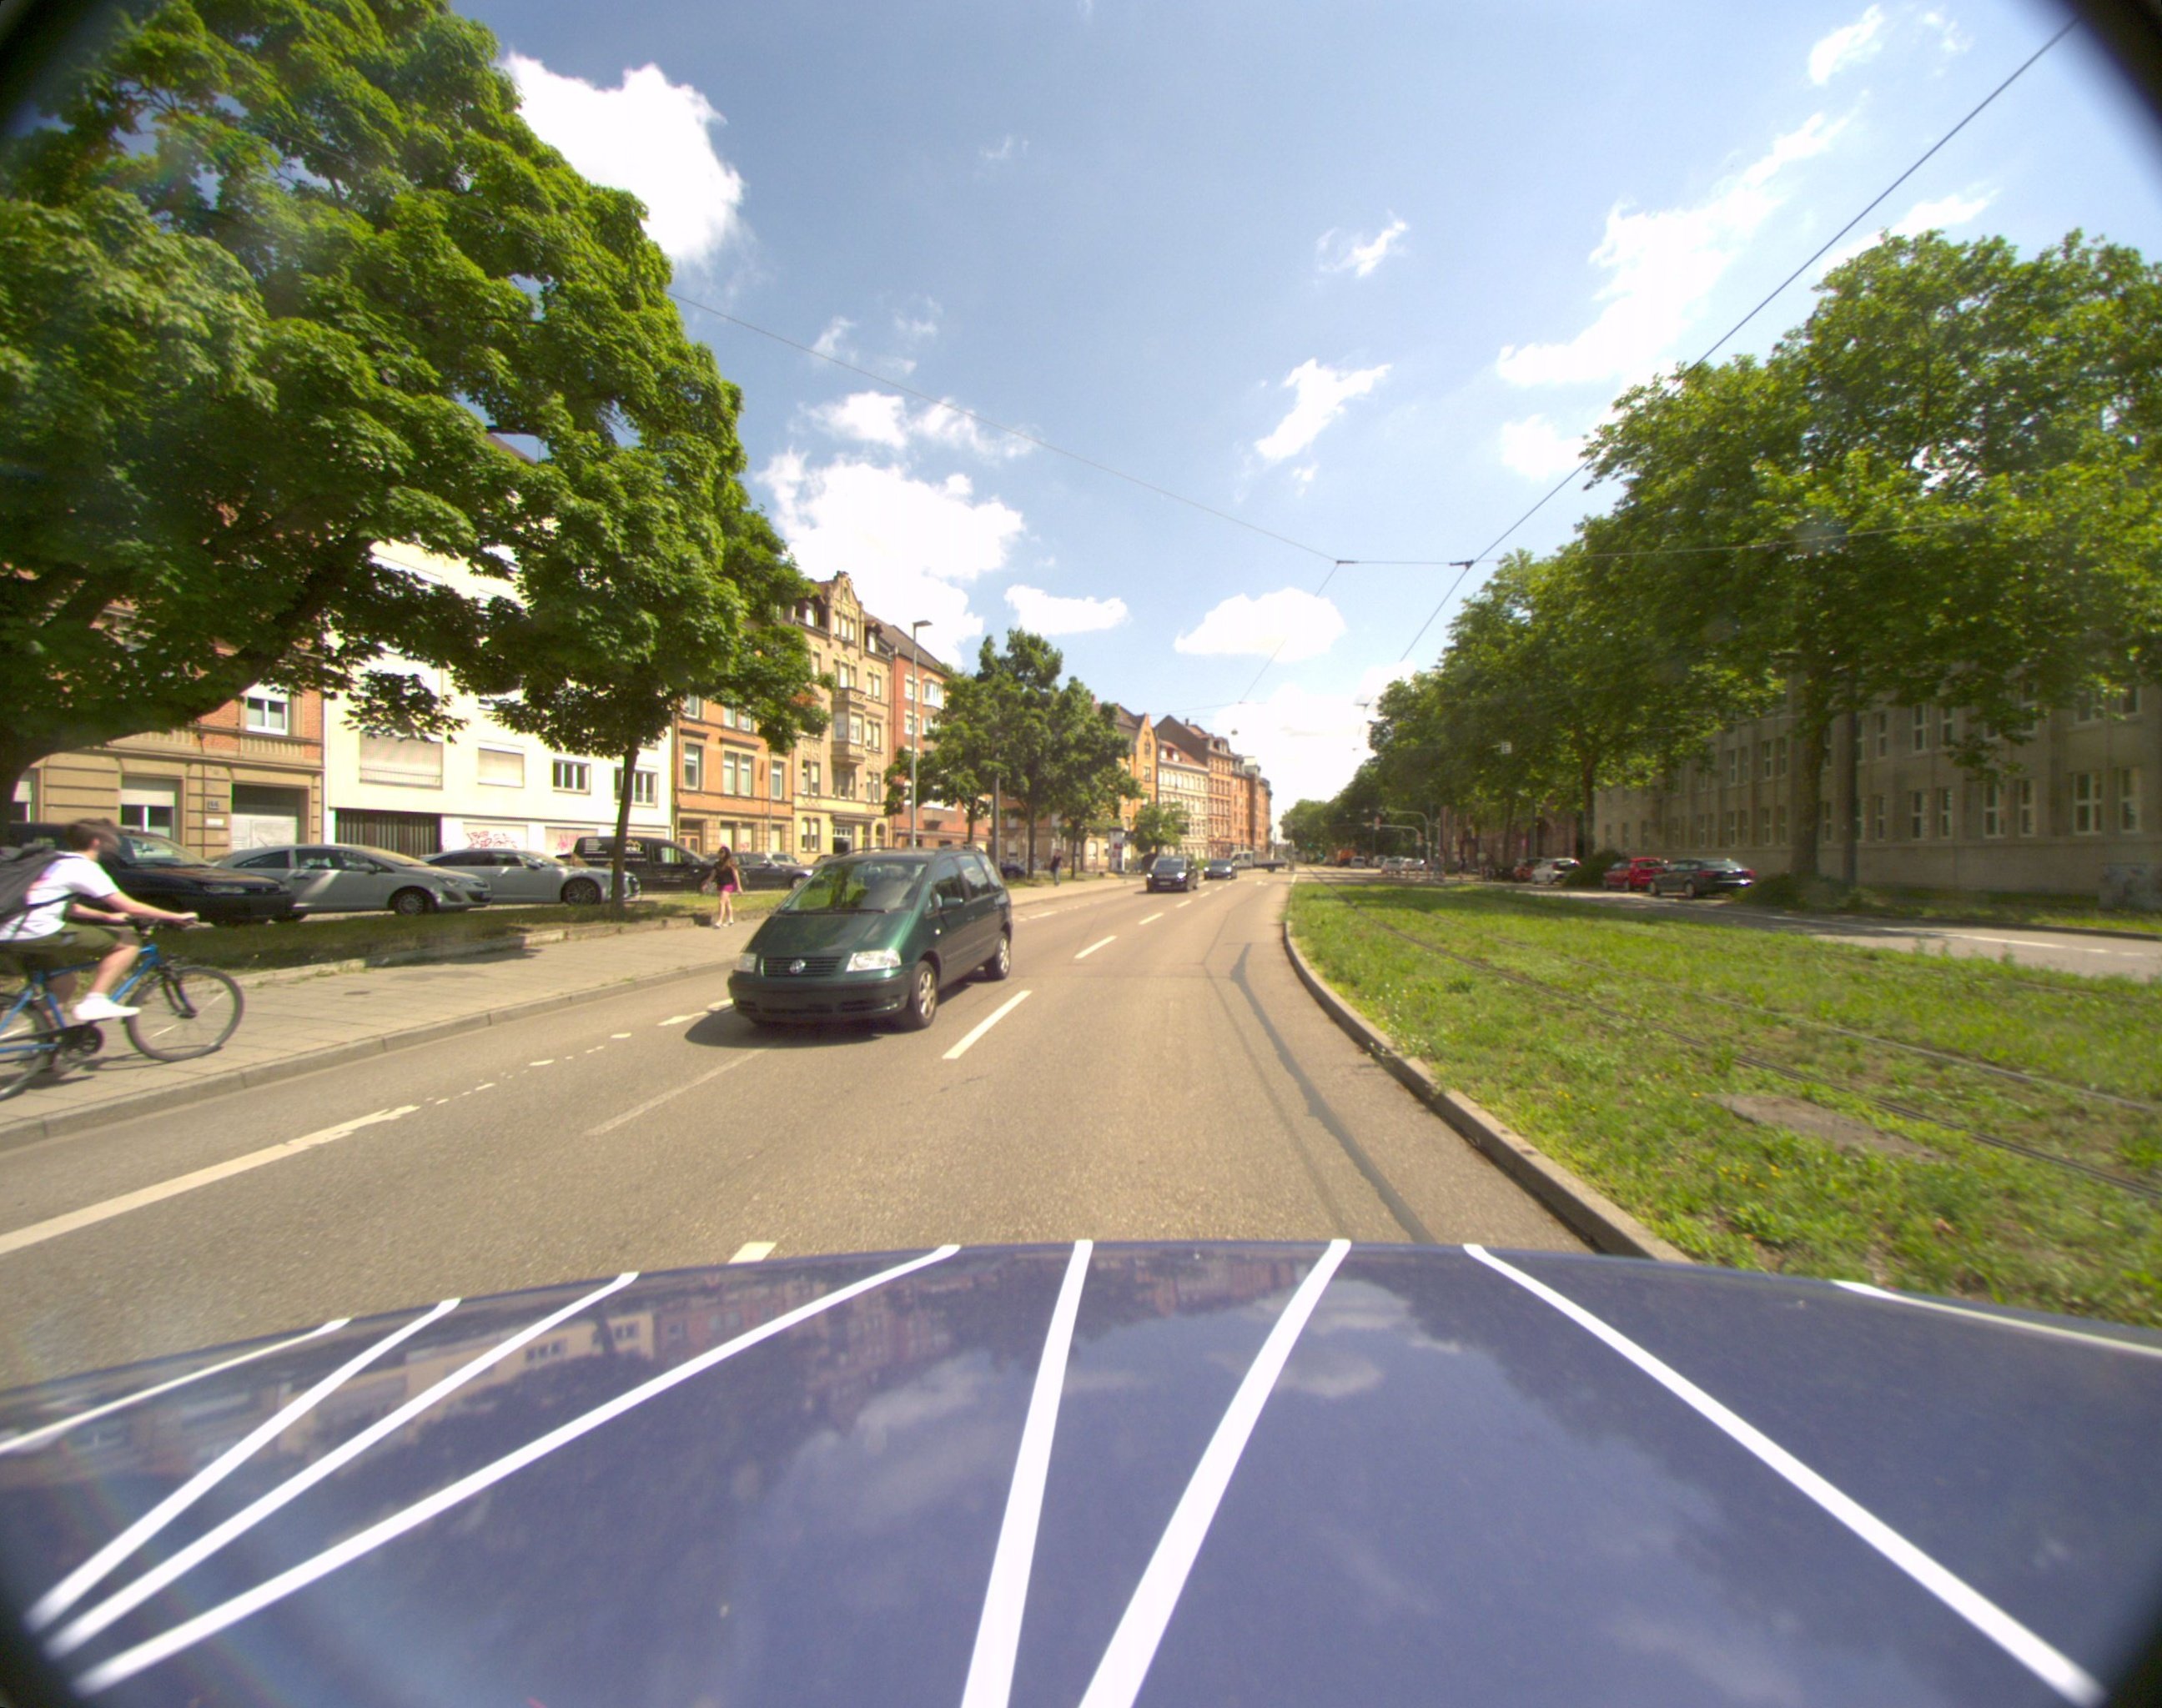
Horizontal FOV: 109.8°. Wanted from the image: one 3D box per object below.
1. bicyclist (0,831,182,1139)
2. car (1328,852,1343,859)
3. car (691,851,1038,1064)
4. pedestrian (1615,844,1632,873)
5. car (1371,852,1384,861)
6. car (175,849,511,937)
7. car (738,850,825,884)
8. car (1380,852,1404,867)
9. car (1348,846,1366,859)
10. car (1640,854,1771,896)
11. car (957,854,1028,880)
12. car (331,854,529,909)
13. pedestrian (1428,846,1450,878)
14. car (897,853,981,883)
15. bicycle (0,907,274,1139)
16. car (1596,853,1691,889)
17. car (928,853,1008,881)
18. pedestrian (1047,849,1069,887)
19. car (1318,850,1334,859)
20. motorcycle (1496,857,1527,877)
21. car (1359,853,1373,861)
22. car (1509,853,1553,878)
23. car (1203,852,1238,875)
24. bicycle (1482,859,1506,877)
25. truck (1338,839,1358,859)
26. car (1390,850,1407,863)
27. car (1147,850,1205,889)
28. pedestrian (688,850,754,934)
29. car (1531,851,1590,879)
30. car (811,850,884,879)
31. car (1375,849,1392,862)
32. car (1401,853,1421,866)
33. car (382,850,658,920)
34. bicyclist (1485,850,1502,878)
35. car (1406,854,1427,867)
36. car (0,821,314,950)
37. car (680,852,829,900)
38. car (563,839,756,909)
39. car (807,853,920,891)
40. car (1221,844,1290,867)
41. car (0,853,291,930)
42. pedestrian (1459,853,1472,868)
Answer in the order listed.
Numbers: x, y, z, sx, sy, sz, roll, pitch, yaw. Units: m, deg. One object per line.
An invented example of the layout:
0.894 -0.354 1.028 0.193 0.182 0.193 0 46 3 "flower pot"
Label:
-6.777 0.786 4.913 0.695 1.814 0.956 5 2 5 "bicyclist"
57.911 0.381 172.819 1.761 1.488 3.999 -1 0 -3 "car"
-2.003 0.872 8.876 1.821 1.746 5.036 0 0 11 "car"
30.728 0.245 43.030 0.554 1.582 0.796 -1 1 15 "pedestrian"
51.368 0.389 131.833 1.759 1.488 4.005 -1 0 16 "car"
-13.512 0.658 14.269 4.089 1.397 1.849 -1 0 -19 "car"
-15.594 0.641 39.842 1.834 1.606 4.501 -1 0 16 "car"
31.128 0.547 76.118 1.762 1.471 3.792 2 0 15 "car"
39.993 -0.253 110.238 1.923 1.736 4.542 3 1 15 "car"
22.231 0.722 27.276 1.929 1.361 4.322 -2 -1 14 "car"
-5.127 0.747 44.193 3.999 1.346 1.960 -1 0 -7 "car"
-19.603 0.772 23.146 1.834 1.483 4.232 -1 0 16 "car"
19.650 0.436 41.724 0.784 1.694 0.701 -1 1 -19 "pedestrian"
-7.091 0.685 38.069 4.001 1.372 1.959 -1 0 -12 "car"
-6.786 1.073 5.069 0.695 1.235 1.840 5 1 5 "bicycle"
23.847 0.695 32.394 1.929 1.411 4.055 -2 -1 16 "car"
-6.085 0.661 40.881 4.003 1.372 1.959 -1 0 -17 "car"
-1.033 0.622 34.862 0.701 1.695 1.046 2 2 15 "pedestrian"
58.545 0.049 181.642 1.763 2.172 3.995 -1 0 -13 "car"
29.202 0.889 51.511 2.109 1.168 0.544 -3 -3 -22 "motorcycle"
54.364 0.509 145.091 1.760 1.488 4.003 -1 0 9 "car"
27.563 0.683 46.621 1.489 1.445 2.886 -2 -1 14 "car"
9.312 0.624 50.611 1.912 1.386 4.318 -1 1 15 "car"
26.146 0.866 48.149 0.792 1.103 2.279 -1 0 14 "bicycle"
45.248 -0.854 129.041 2.642 3.088 7.231 2 1 16 "truck"
44.962 0.378 107.746 1.759 1.825 4.005 -1 0 16 "car"
4.306 0.644 33.871 1.873 1.610 4.194 -1 0 17 "car"
-7.115 0.722 15.052 0.701 1.583 0.906 3 1 15 "pedestrian"
26.458 0.620 42.041 1.749 1.445 3.495 -2 -1 14 "car"
-13.916 0.574 45.581 1.834 1.606 4.501 -1 0 19 "car"
50.298 0.202 126.418 1.991 1.992 4.089 -1 0 13 "car"
42.202 0.698 97.183 1.759 1.488 4.005 -1 0 16 "car"
-12.523 0.639 17.371 4.697 1.372 1.849 -1 0 -18 "car"
26.124 0.632 48.113 0.762 1.694 0.784 -1 1 13 "bicyclist"
40.943 0.739 92.760 1.759 1.488 4.005 -1 0 16 "car"
-14.710 0.438 11.360 4.152 1.731 1.850 -1 0 -15 "car"
-10.534 0.677 24.801 4.273 1.372 1.849 -1 0 -20 "car"
-11.445 0.501 21.009 4.370 1.731 1.849 -1 0 -20 "car"
-8.895 0.712 31.010 4.273 1.372 1.849 -1 0 -20 "car"
18.411 0.172 80.155 6.965 2.360 2.266 0 0 19 "car"
-21.342 0.756 17.303 1.834 1.483 4.232 -1 0 16 "car"
32.506 0.570 64.240 0.756 1.205 0.914 -5 -1 18 "pedestrian"
